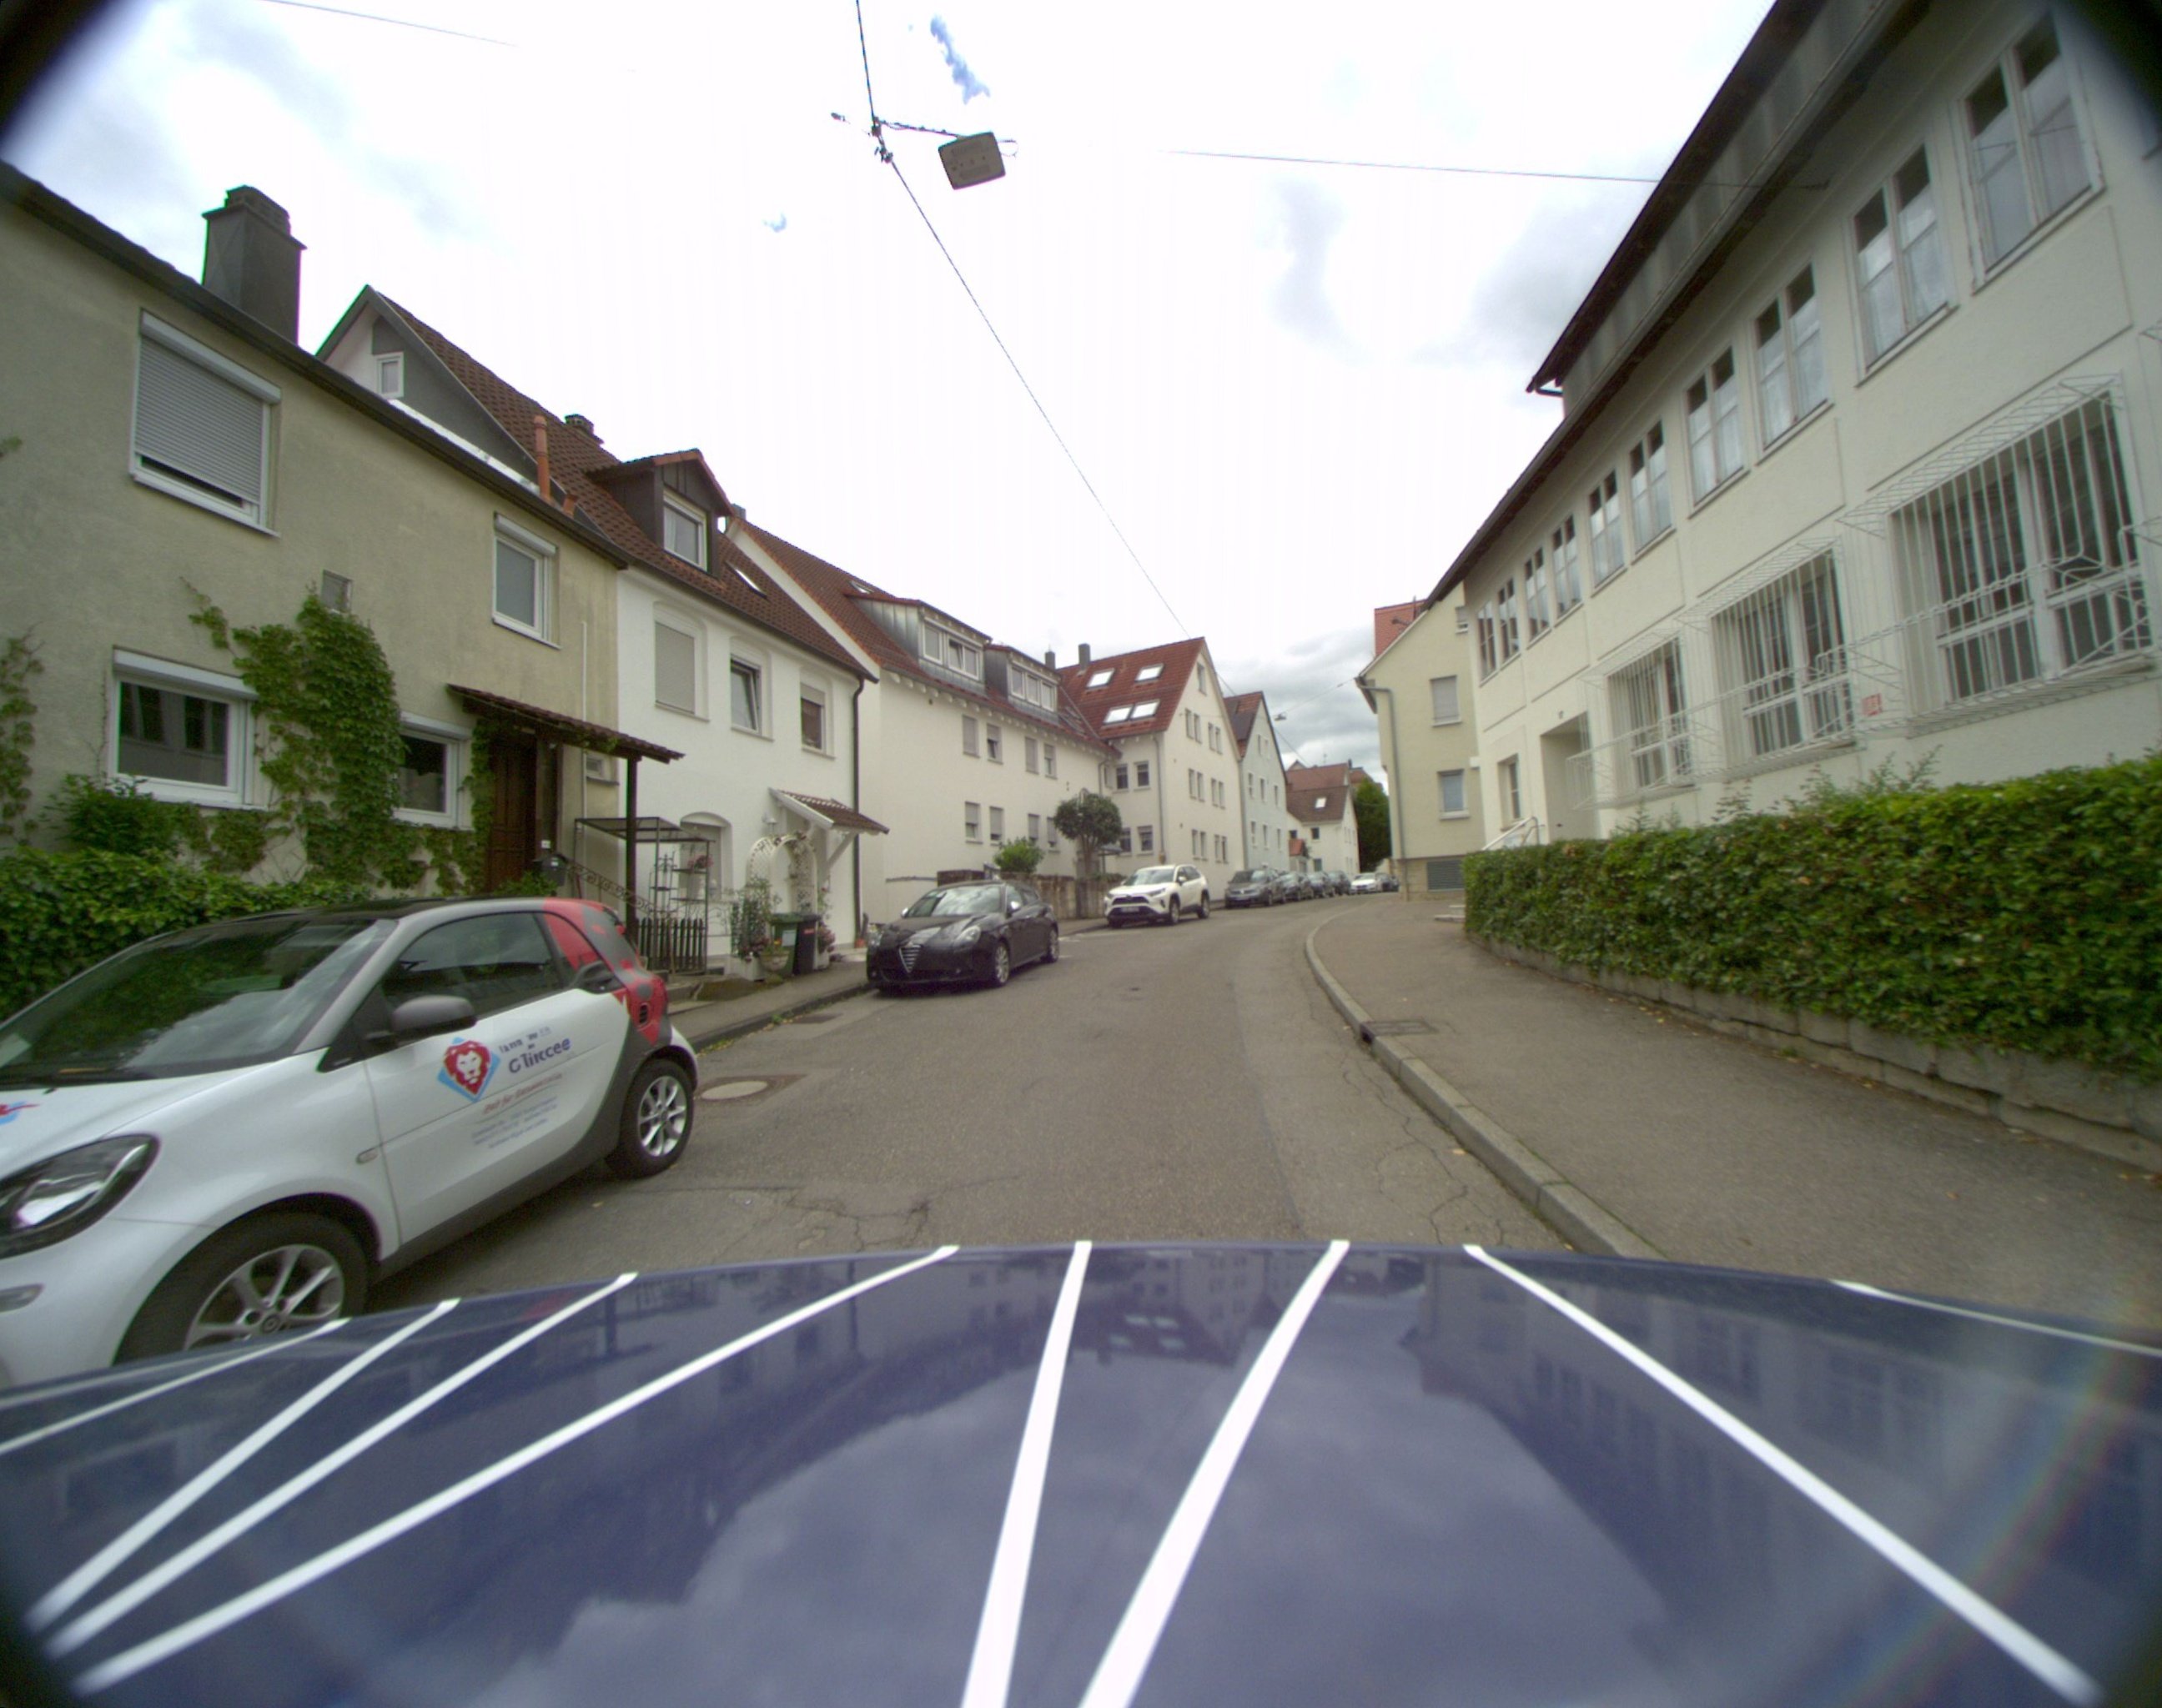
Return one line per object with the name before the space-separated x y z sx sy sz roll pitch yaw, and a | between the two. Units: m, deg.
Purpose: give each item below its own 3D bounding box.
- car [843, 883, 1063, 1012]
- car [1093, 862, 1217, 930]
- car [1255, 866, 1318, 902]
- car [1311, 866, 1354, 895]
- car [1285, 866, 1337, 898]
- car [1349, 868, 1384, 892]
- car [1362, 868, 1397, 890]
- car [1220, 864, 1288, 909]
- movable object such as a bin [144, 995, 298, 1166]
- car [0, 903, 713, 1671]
car | -1.644 1.231 11.266 1.721 1.398 4.007 -4 -2 13
car | 2.244 1.142 21.721 1.948 1.629 4.469 -6 -3 26
car | 9.610 1.377 35.368 1.810 1.433 3.966 -6 -3 29
car | 14.654 1.544 44.180 1.640 1.502 3.849 -6 -4 28
car | 12.057 1.446 39.738 1.727 1.433 4.274 -6 -4 27
car | 21.008 1.931 55.771 1.768 1.552 4.049 -6 -4 28
car | 23.897 2.002 60.717 1.768 1.609 4.291 -6 -5 30
car | 7.057 1.276 30.723 1.737 1.554 3.916 -6 -3 26
movable object such as a bin | -5.326 1.382 4.723 0.439 0.908 0.446 1 2 9
car | -3.157 1.121 3.100 1.615 1.523 2.898 -5 0 4
